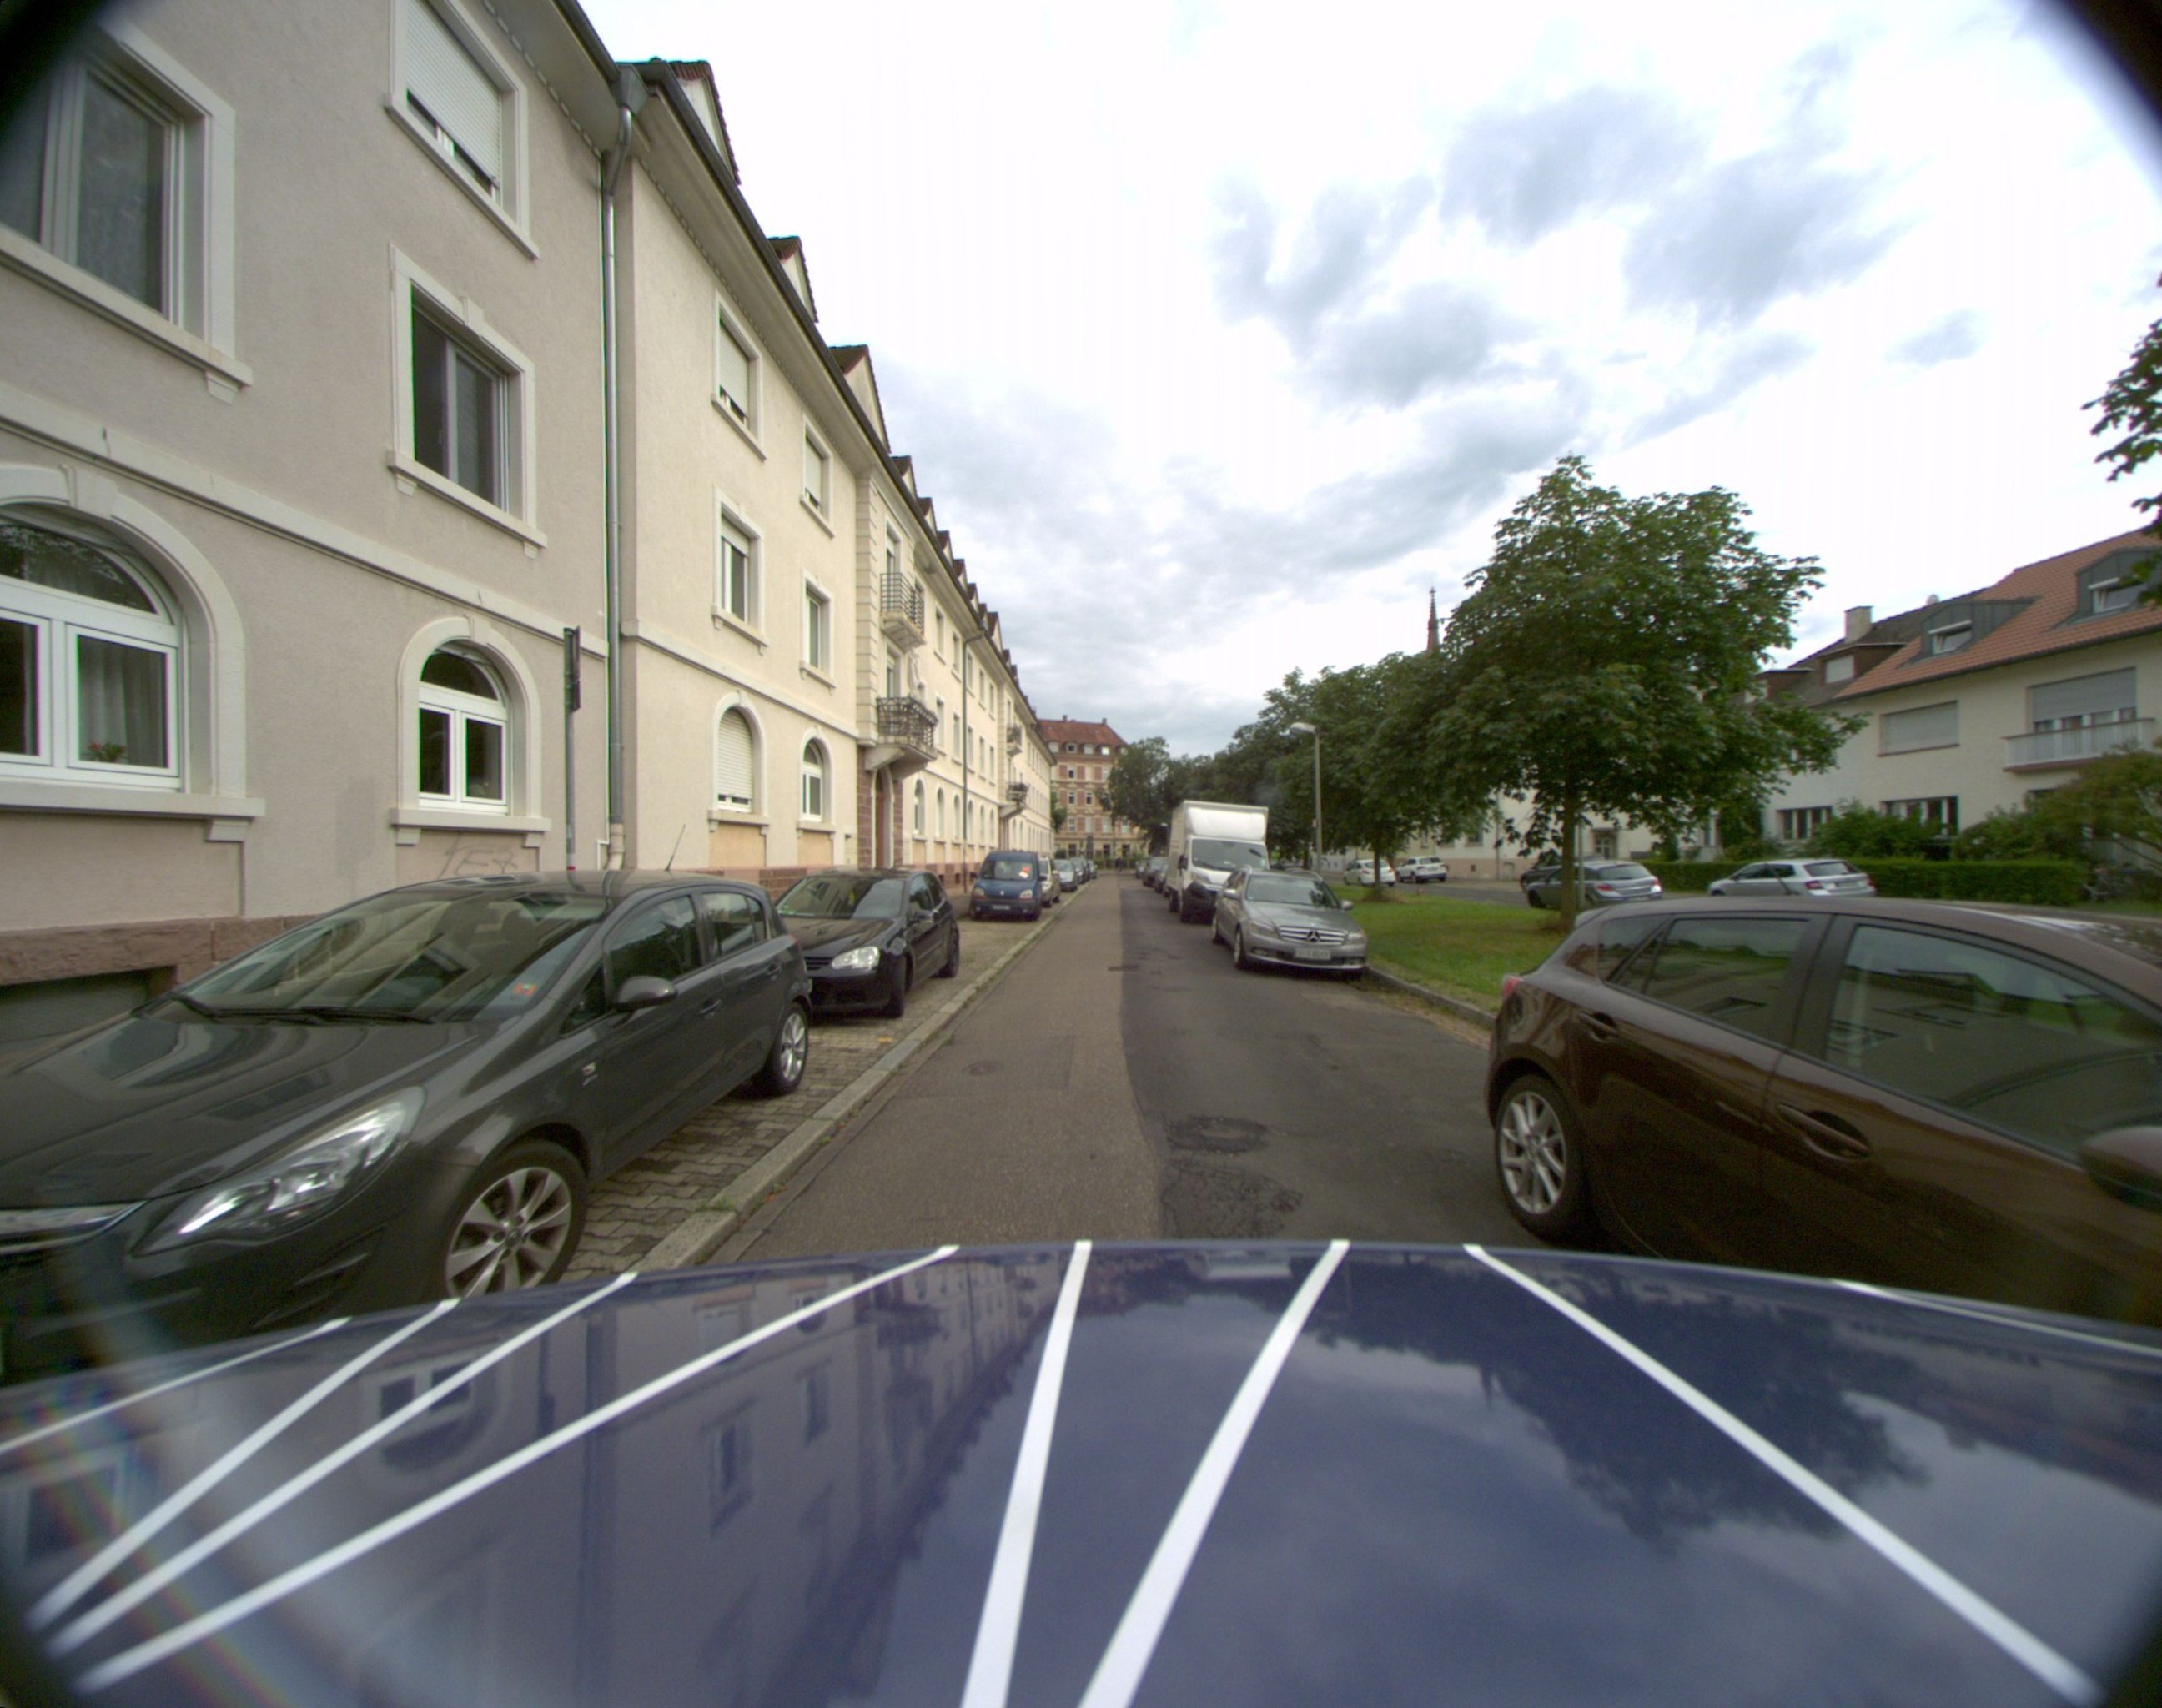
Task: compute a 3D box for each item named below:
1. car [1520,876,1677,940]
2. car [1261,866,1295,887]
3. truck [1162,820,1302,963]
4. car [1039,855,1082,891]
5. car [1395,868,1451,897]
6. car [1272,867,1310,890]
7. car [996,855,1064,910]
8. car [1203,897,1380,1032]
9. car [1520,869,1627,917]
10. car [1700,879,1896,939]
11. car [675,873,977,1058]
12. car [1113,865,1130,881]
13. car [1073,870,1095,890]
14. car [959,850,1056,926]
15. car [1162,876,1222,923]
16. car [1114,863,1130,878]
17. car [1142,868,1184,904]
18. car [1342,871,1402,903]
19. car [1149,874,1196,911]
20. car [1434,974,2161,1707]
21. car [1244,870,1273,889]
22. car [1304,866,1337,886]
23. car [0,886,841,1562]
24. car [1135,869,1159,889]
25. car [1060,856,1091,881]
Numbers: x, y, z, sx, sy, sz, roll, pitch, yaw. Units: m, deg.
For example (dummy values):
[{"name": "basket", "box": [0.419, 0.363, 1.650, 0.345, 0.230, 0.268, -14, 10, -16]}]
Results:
[{"name": "car", "box": [14.290, 1.422, 21.286, 1.804, 1.479, 4.007, -2, 0, 3]}, {"name": "car", "box": [16.834, 1.925, 65.044, 1.969, 1.629, 4.007, -2, 0, 3]}, {"name": "truck", "box": [3.680, 0.847, 20.186, 2.443, 2.939, 7.114, 4, 0, 3]}, {"name": "car", "box": [-0.917, 0.868, 36.057, 1.685, 1.505, 3.955, 3, 0, 3]}, {"name": "car", "box": [20.999, 1.728, 46.832, 1.804, 1.597, 4.007, -2, 0, 3]}, {"name": "car", "box": [16.390, 1.925, 59.419, 1.969, 1.629, 4.007, -2, 0, 3]}, {"name": "car", "box": [-1.638, 0.913, 25.770, 1.774, 1.628, 4.129, 3, 0, 3]}, {"name": "car", "box": [3.114, 1.567, 12.190, 1.714, 1.449, 4.449, 4, 0, 3]}, {"name": "car", "box": [20.154, 1.549, 31.314, 1.804, 1.664, 4.102, -4, 0, 3]}, {"name": "car", "box": [19.570, 1.446, 21.007, 1.804, 1.347, 3.942, -2, 0, 3]}, {"name": "car", "box": [-2.481, 0.996, 8.721, 1.691, 1.445, 4.546, 2, 0, 3]}, {"name": "car", "box": [4.294, 1.982, 80.819, 1.643, 1.570, 4.209, 3, 0, 1]}, {"name": "car", "box": [0.264, 1.997, 59.202, 1.455, 1.388, 4.011, 3, 0, 3]}, {"name": "car", "box": [-1.850, 0.824, 20.348, 1.942, 1.774, 4.187, 1, 0, 3]}, {"name": "car", "box": [4.092, 1.648, 28.651, 1.643, 1.505, 4.152, 3, 0, 1]}, {"name": "car", "box": [4.659, 1.906, 86.465, 1.643, 1.570, 4.209, 3, 0, 1]}, {"name": "car", "box": [4.399, 1.702, 41.420, 1.784, 1.697, 4.315, 3, 0, 1]}, {"name": "car", "box": [15.213, 1.703, 39.934, 1.804, 1.479, 4.007, -2, 0, 3]}, {"name": "car", "box": [4.050, 1.676, 34.204, 1.643, 1.505, 4.152, 0, 0, 1]}, {"name": "car", "box": [2.564, 1.361, 1.675, 1.714, 1.449, 4.164, 4, 0, 3]}, {"name": "car", "box": [16.889, 2.449, 72.363, 1.969, 1.629, 4.007, -2, 0, 3]}, {"name": "car", "box": [22.918, 2.072, 72.711, 1.969, 1.629, 4.007, -4, 0, 3]}, {"name": "car", "box": [-2.668, 0.976, 3.775, 1.692, 1.445, 3.901, 2, 0, 0]}, {"name": "car", "box": [5.262, 1.972, 60.995, 1.643, 1.570, 4.210, 0, -1, 1]}, {"name": "car", "box": [-0.316, 0.871, 47.033, 1.609, 1.392, 4.011, 3, 0, 3]}]
